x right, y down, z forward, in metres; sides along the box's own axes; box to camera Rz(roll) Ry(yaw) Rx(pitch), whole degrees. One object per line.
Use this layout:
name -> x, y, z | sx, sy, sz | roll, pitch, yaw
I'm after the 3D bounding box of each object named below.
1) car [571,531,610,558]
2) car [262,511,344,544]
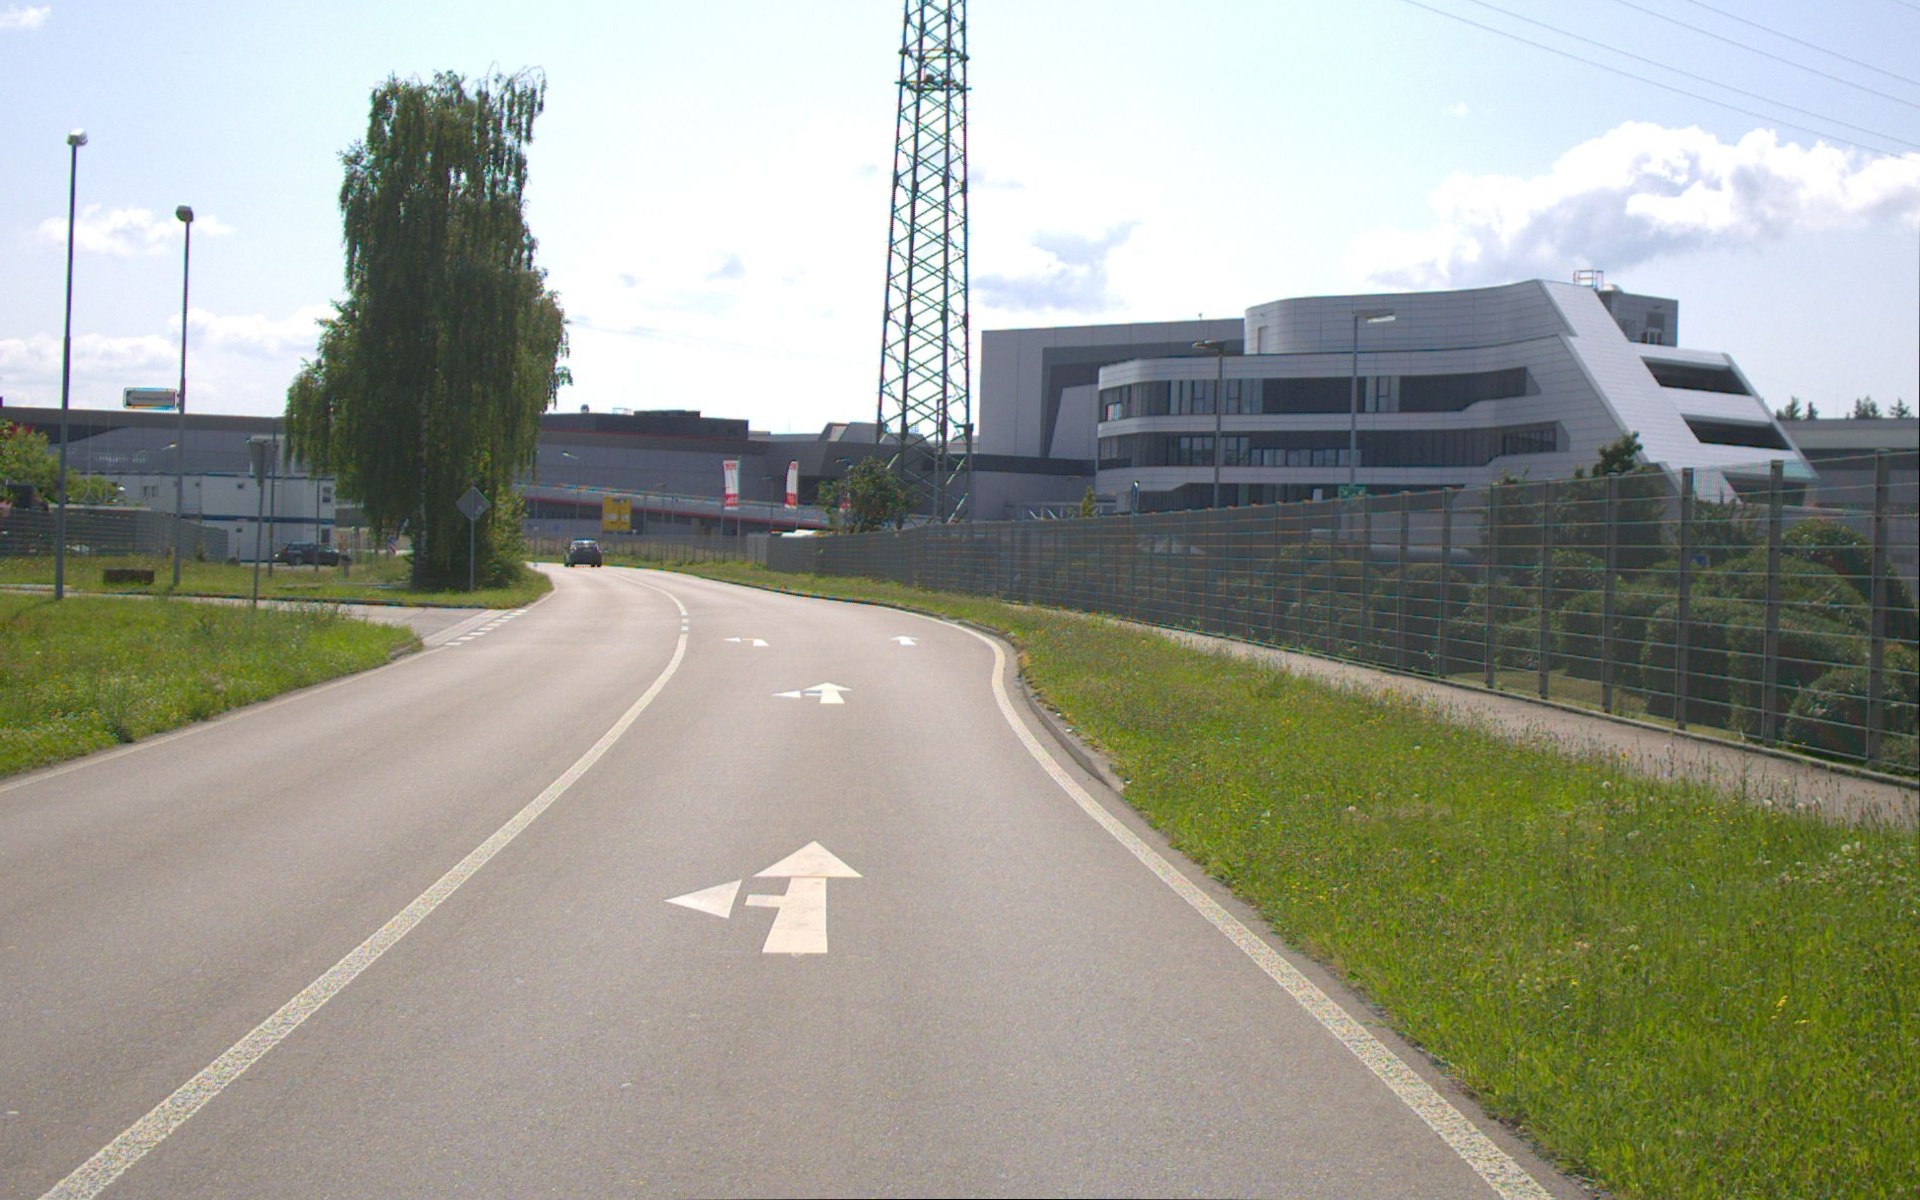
car -> -21.398, -3.240, 199.369 | 2.012, 1.503, 4.001 | 2, 1, -4
car -> -34.004, -3.762, 177.999 | 3.986, 1.568, 2.001 | 2, 1, -8
